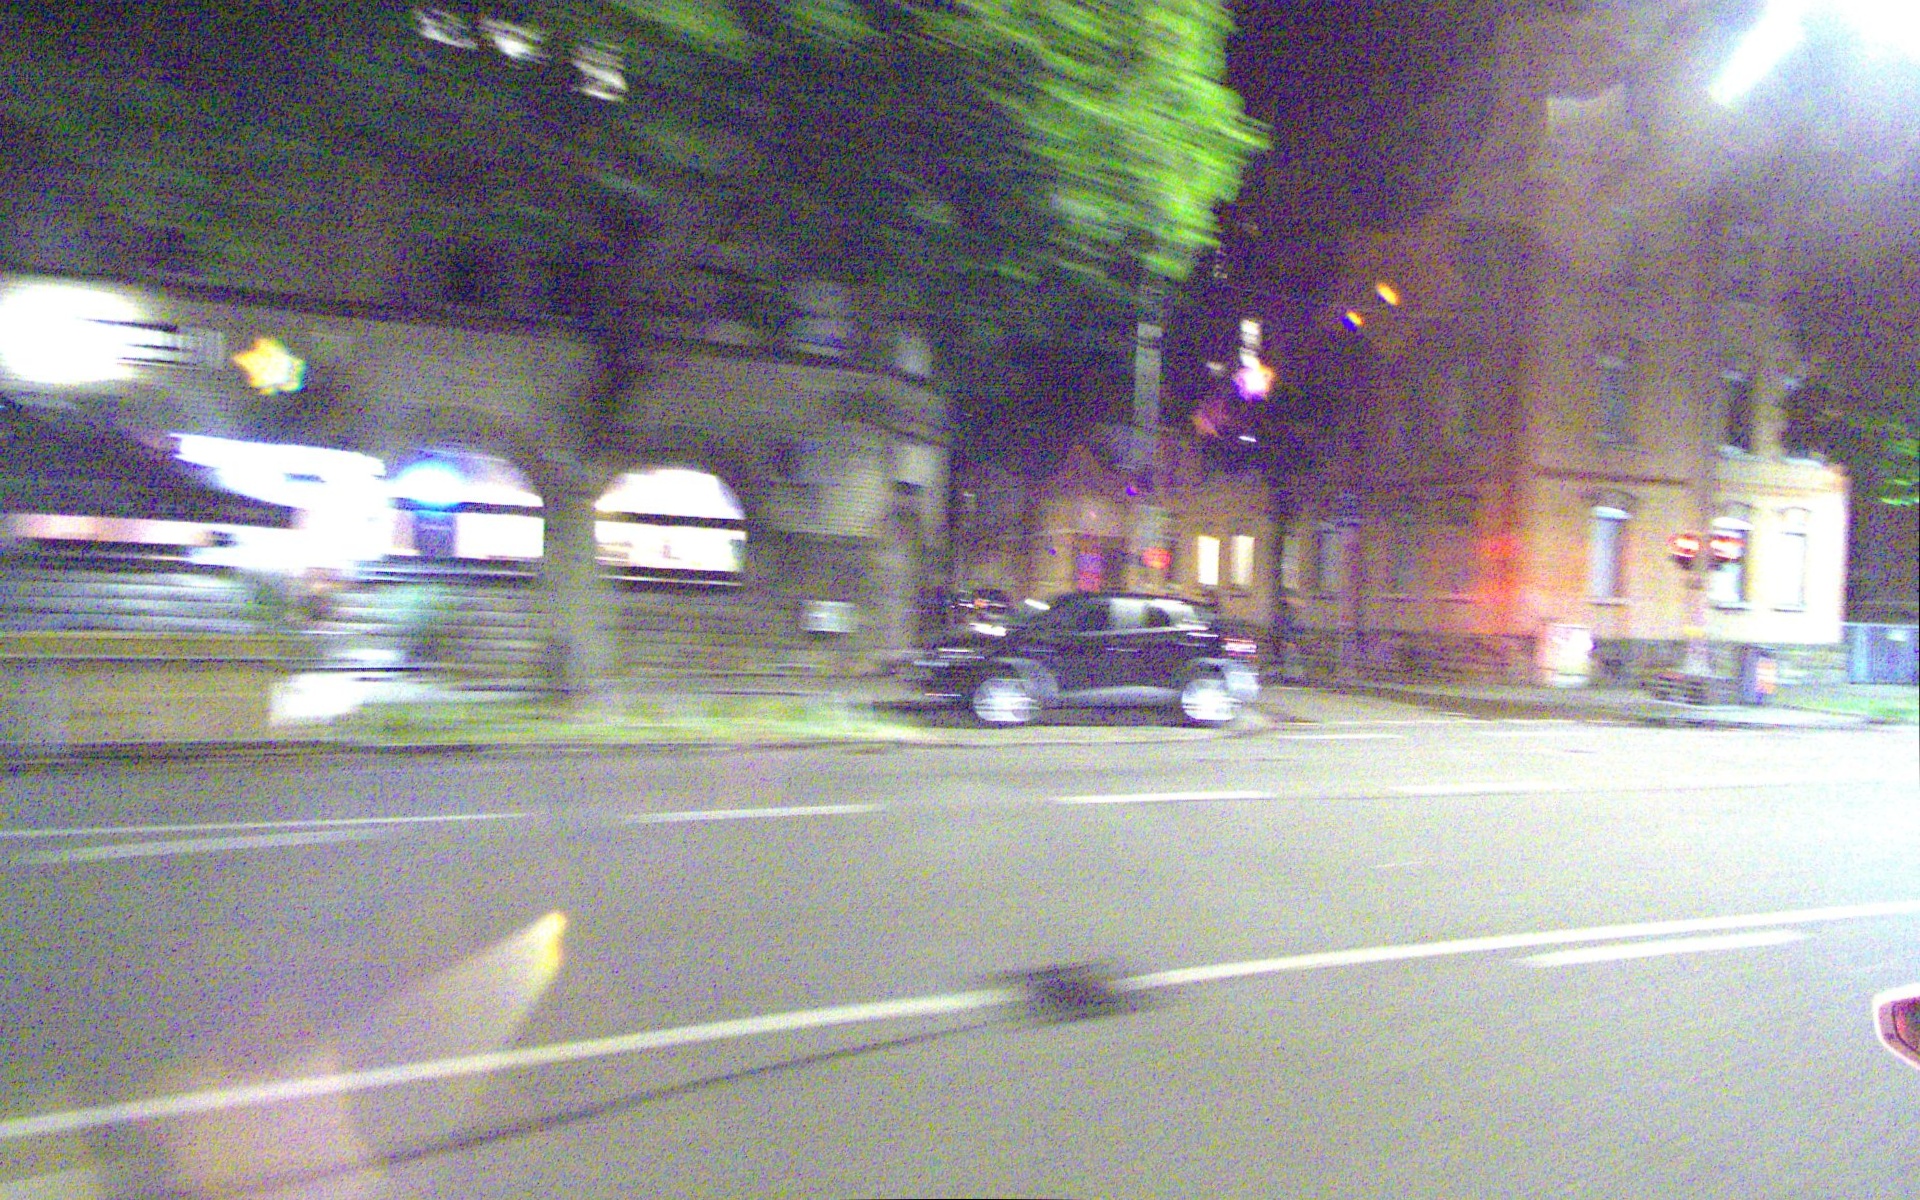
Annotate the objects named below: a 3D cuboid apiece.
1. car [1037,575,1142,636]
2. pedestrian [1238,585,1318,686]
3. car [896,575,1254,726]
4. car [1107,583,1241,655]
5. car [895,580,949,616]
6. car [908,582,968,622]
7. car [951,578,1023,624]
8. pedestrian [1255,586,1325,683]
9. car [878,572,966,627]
[{"bbox_3d":[4.099,0.150,32.383,1.870,1.799,3.985,2,1,-17],"label":"car"},{"bbox_3d":[5.545,0.611,17.528,1.103,1.713,0.711,1,0,-6],"label":"pedestrian"},{"bbox_3d":[1.346,0.598,12.439,3.956,1.618,1.886,2,2,-14],"label":"car"},{"bbox_3d":[5.732,0.464,27.447,1.870,1.799,3.985,2,1,-17],"label":"car"},{"bbox_3d":[-2.060,-0.131,53.314,1.870,1.799,3.985,2,1,-17],"label":"car"},{"bbox_3d":[-1.120,0.088,48.469,1.870,1.799,3.985,2,1,-17],"label":"car"},{"bbox_3d":[1.098,0.025,42.803,1.870,1.799,3.985,2,1,-17],"label":"car"},{"bbox_3d":[6.023,0.624,18.364,0.979,1.713,0.711,1,0,-6],"label":"pedestrian"},{"bbox_3d":[-1.314,-0.030,32.626,1.870,1.620,3.985,2,1,-17],"label":"car"}]
